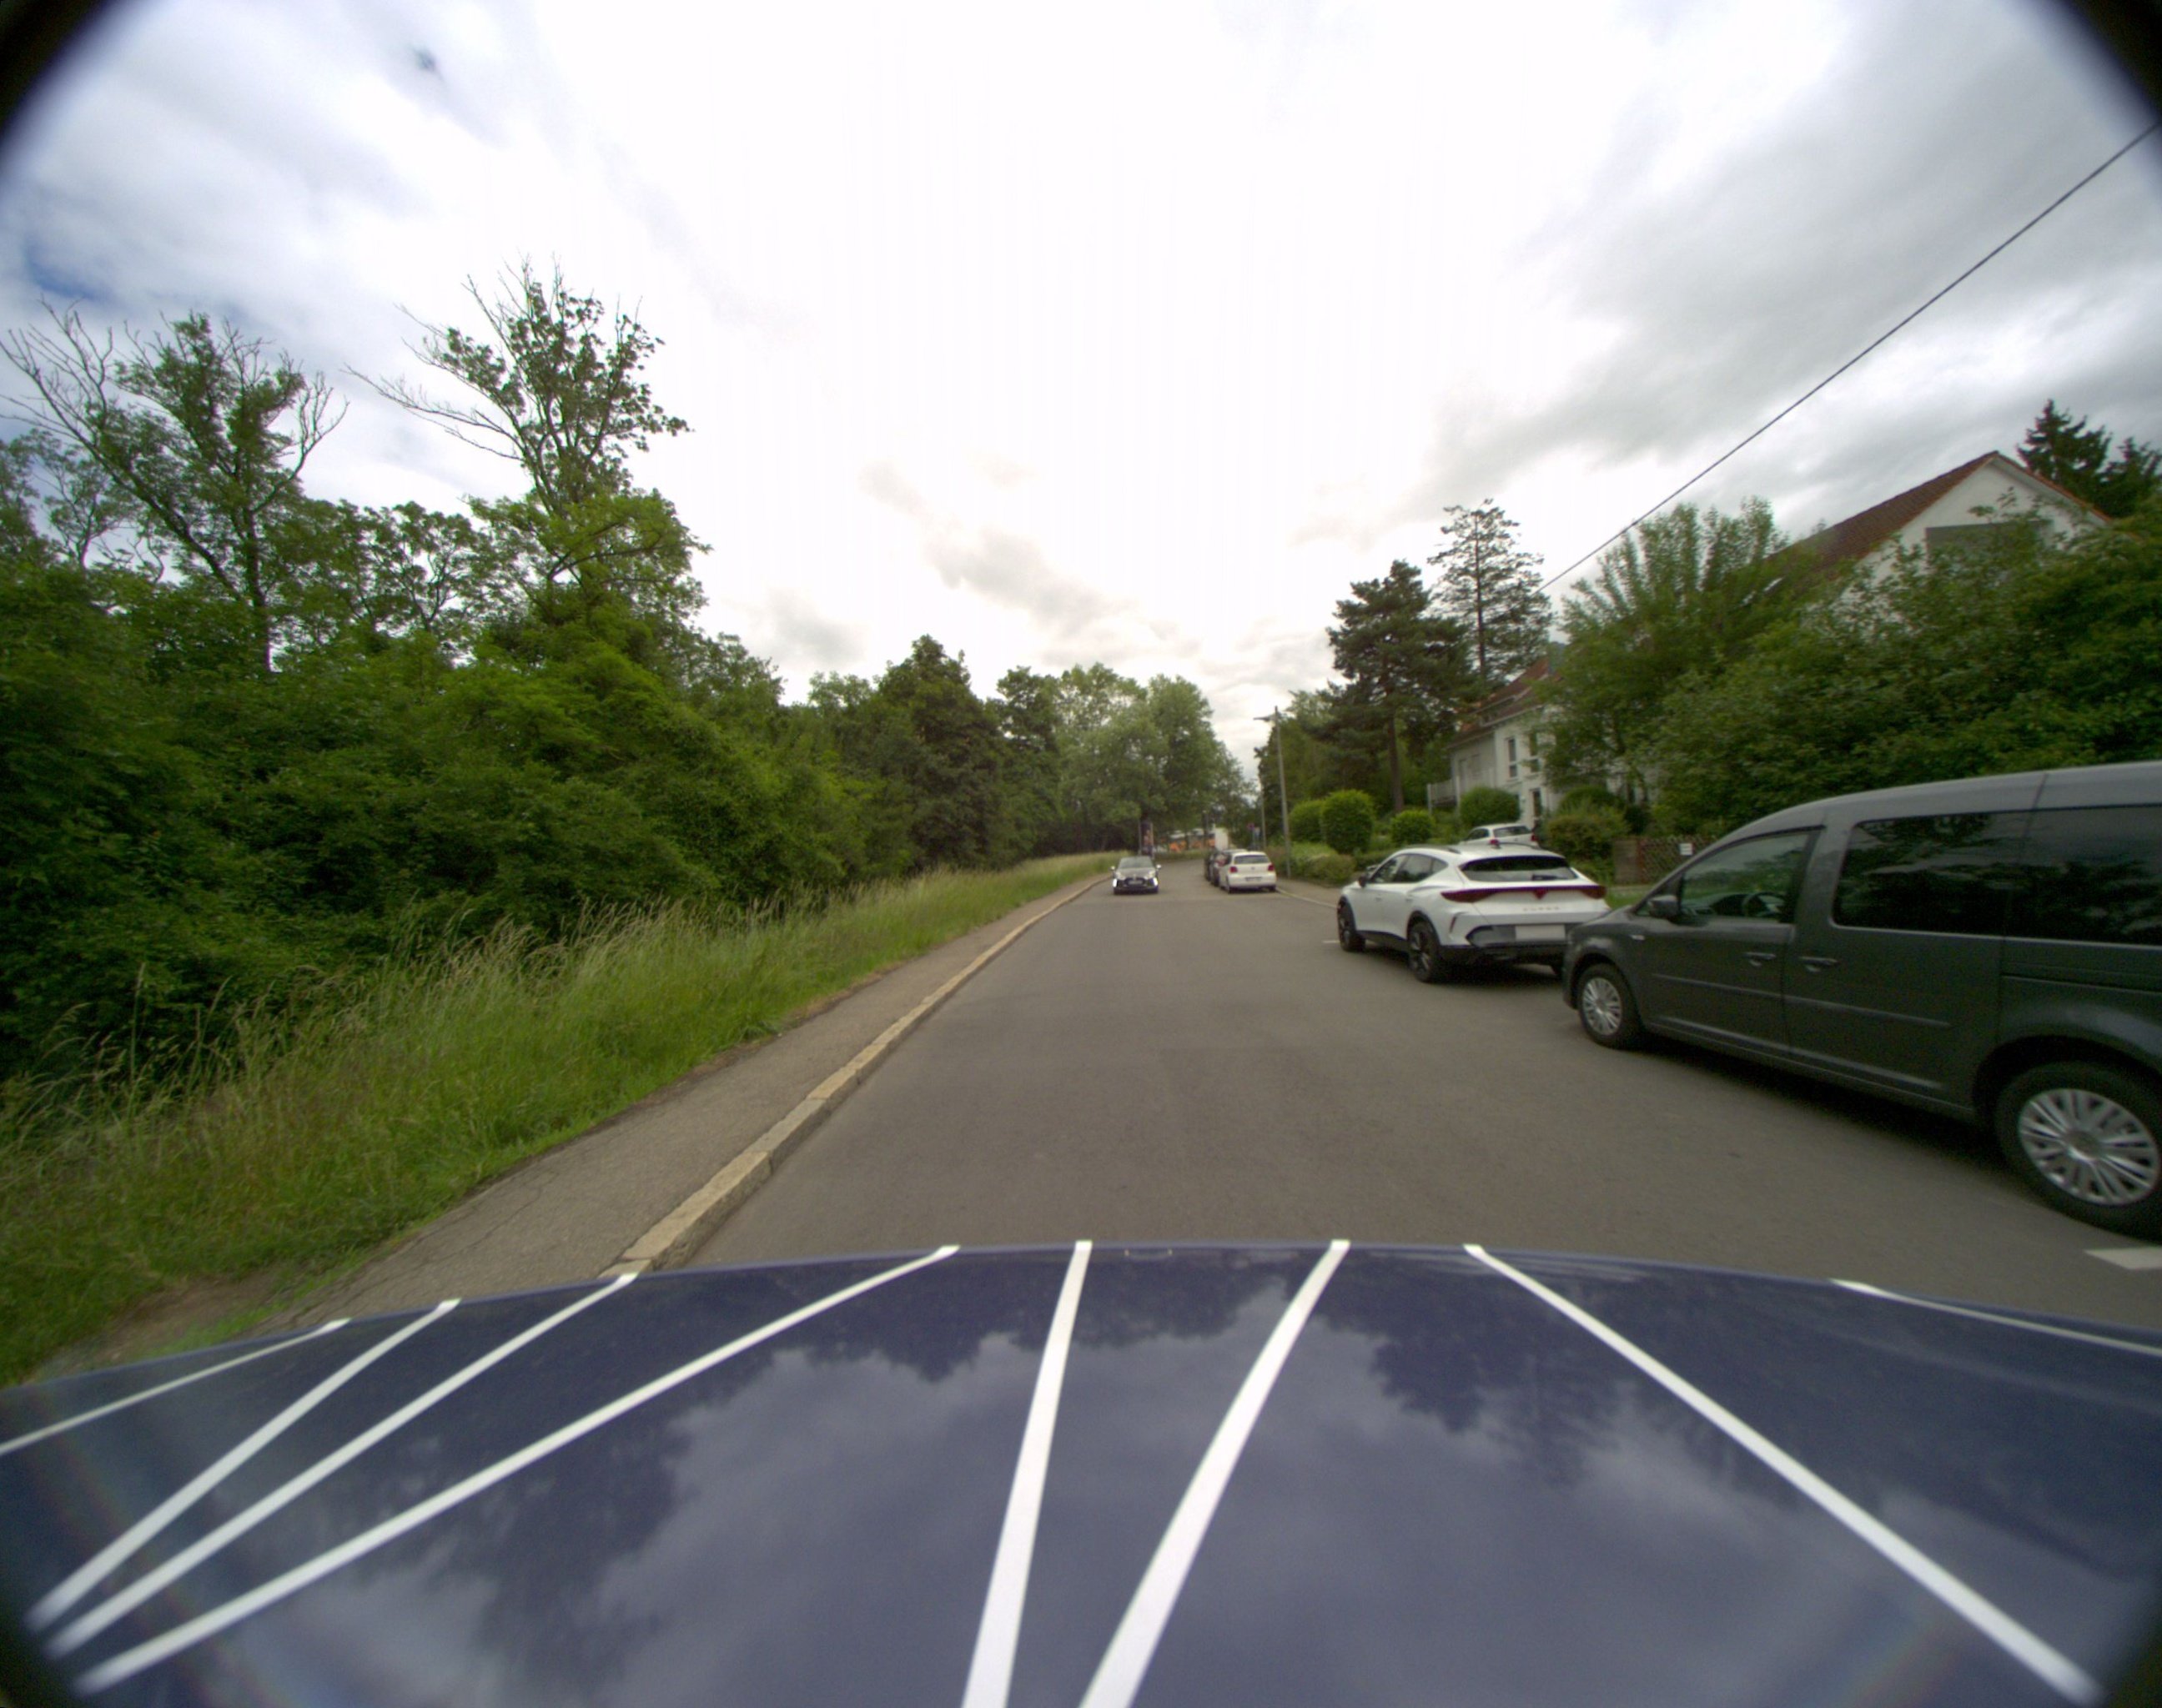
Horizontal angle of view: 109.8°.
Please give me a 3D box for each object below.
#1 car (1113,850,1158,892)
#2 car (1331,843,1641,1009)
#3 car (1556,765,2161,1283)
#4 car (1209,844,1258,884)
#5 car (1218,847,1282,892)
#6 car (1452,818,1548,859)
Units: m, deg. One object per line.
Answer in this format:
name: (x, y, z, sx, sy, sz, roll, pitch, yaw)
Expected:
car: (2.214, 0.633, 30.082, 1.619, 1.460, 4.001, -2, 1, 6)
car: (4.498, 0.661, 9.220, 1.665, 1.496, 4.045, -3, 1, 2)
car: (4.609, 0.533, 3.880, 1.801, 1.790, 4.064, -3, 1, 0)
car: (6.338, 0.382, 31.808, 1.605, 1.521, 3.589, -3, 1, 6)
car: (6.043, 0.498, 27.508, 1.736, 1.420, 3.458, -3, 1, 5)
car: (15.146, -0.566, 27.693, 1.649, 1.324, 3.905, -2, 1, 7)
